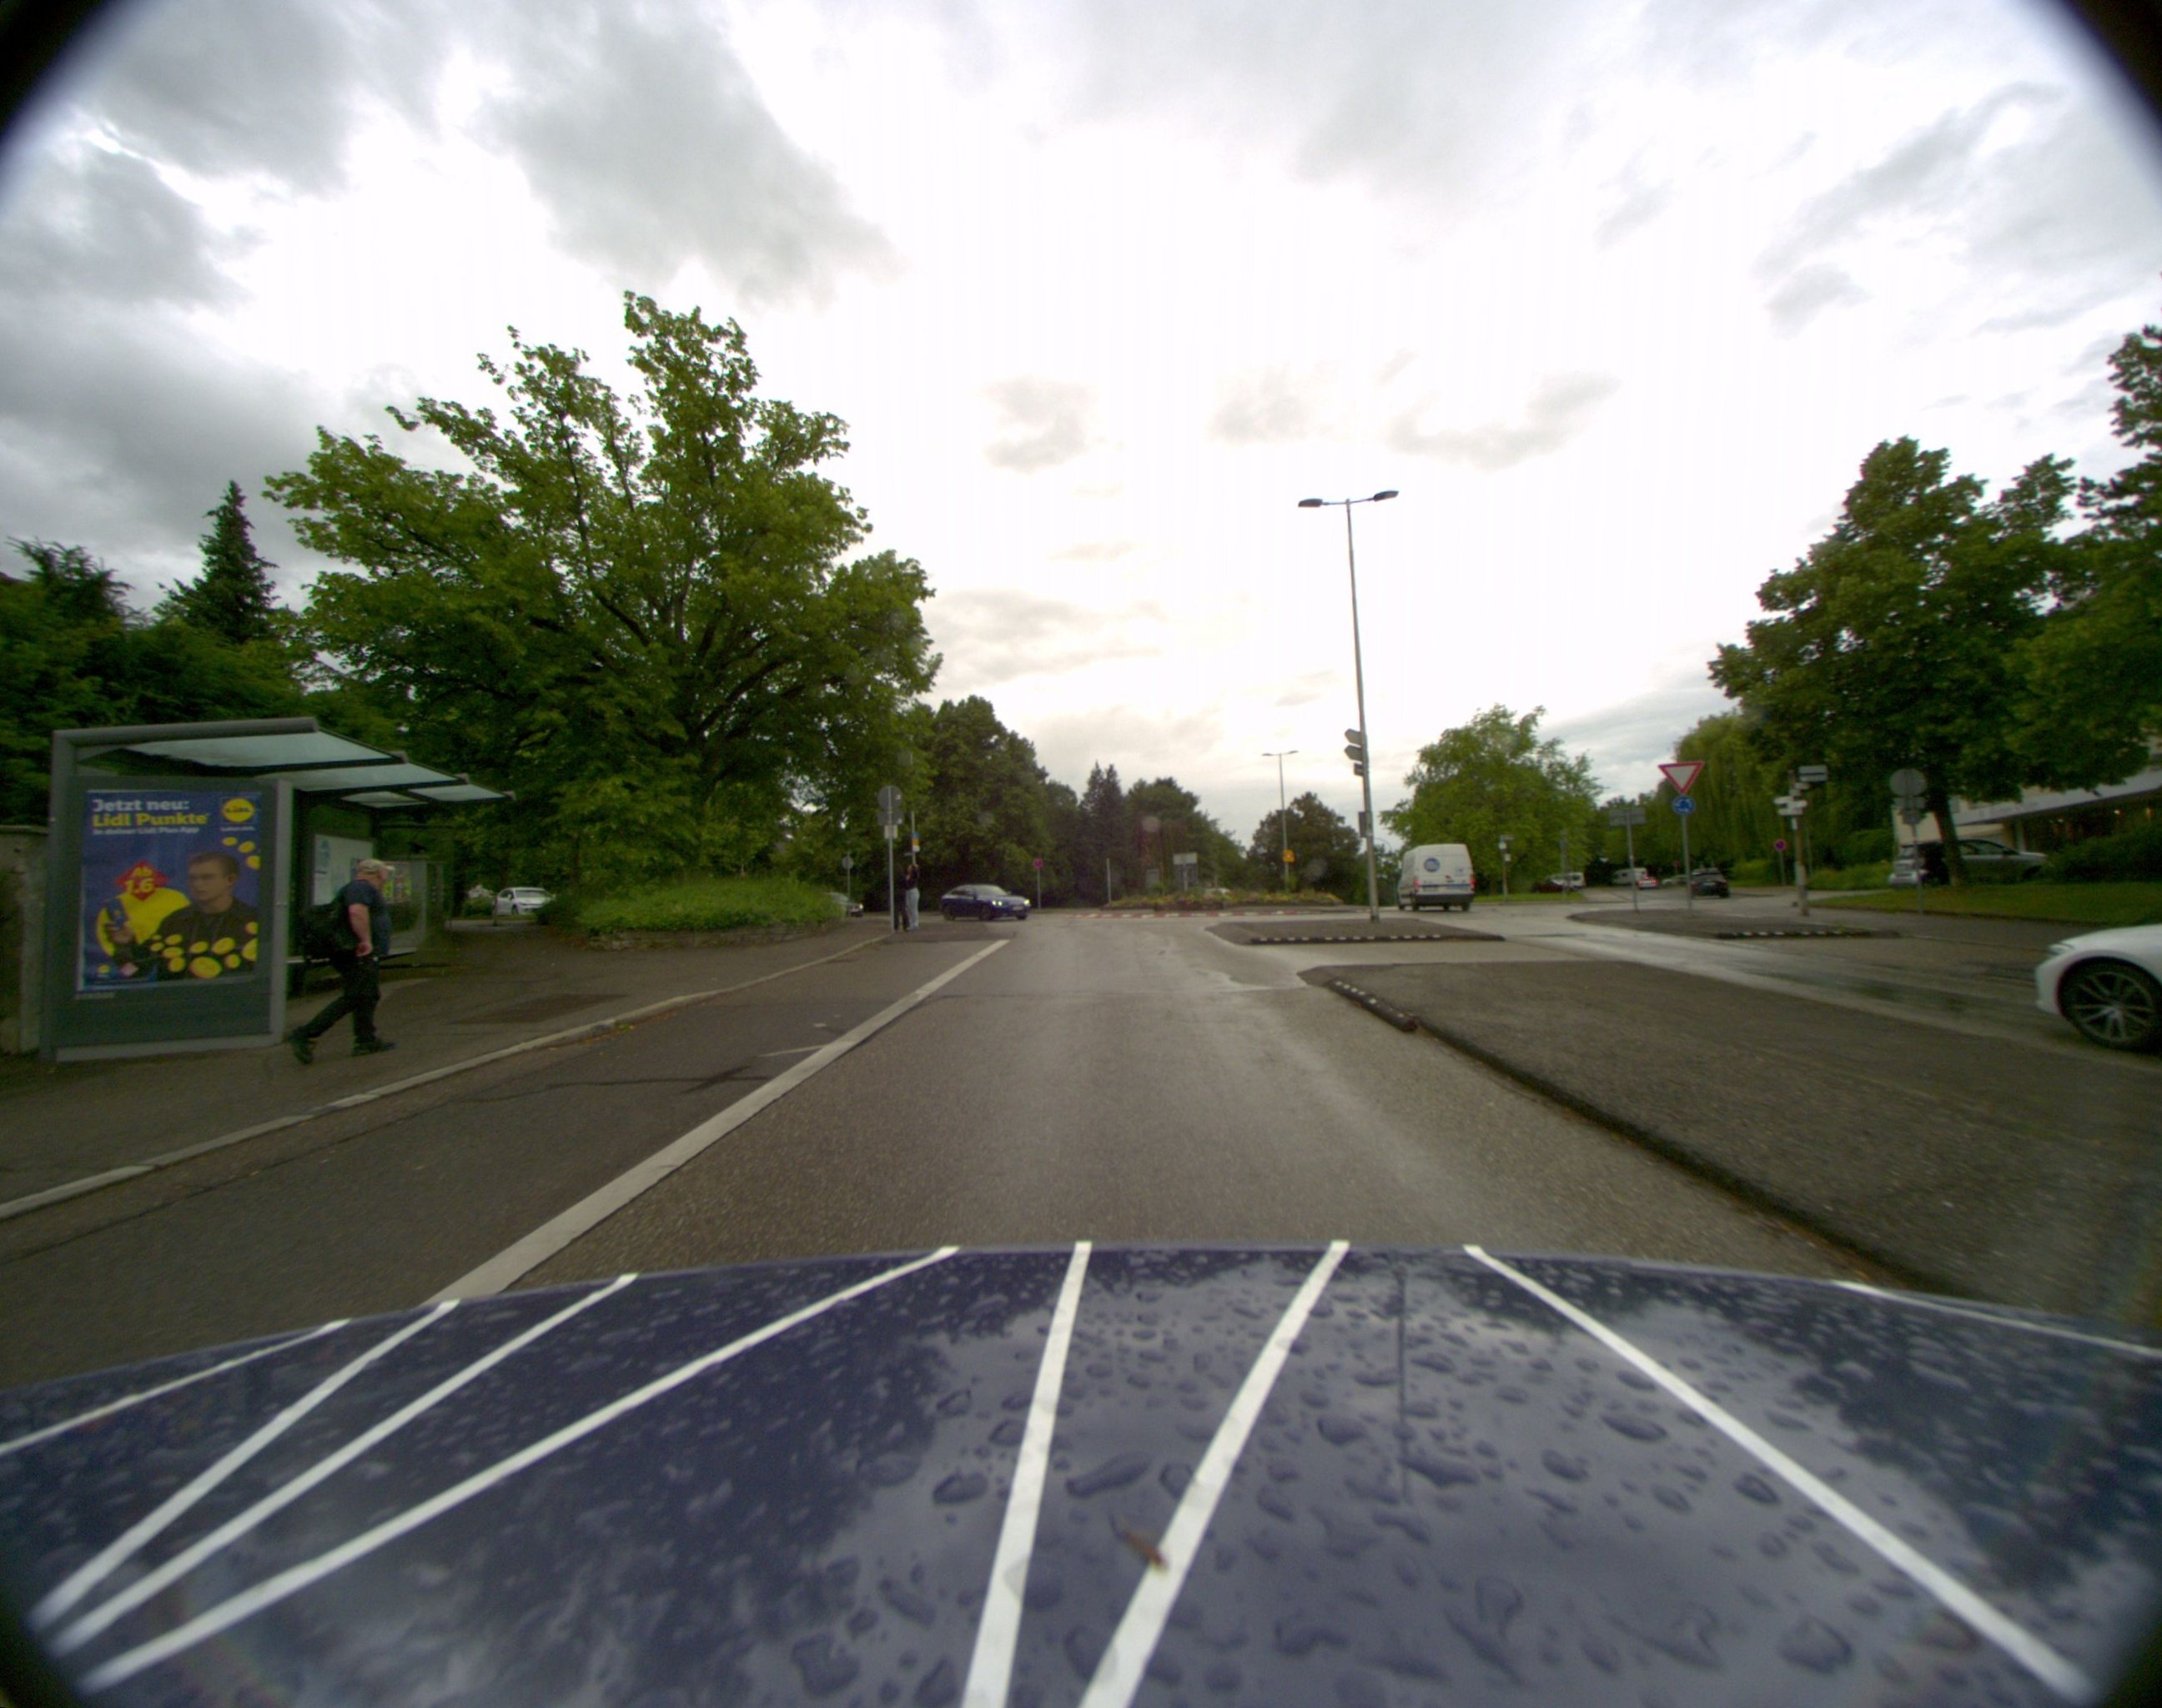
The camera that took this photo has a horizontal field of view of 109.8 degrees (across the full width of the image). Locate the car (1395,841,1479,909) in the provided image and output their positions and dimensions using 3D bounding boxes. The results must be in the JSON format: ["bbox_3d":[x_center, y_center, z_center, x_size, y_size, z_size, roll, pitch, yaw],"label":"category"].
[{"bbox_3d":[13.905,0.903,29.996,2.170,2.400,5.406,-1,-3,17],"label":"car"}]

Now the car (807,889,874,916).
[{"bbox_3d":[-13.842,2.783,43.571,1.867,1.406,4.374,0,-3,-44],"label":"car"}]

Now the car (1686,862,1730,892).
[{"bbox_3d":[36.694,1.302,44.518,1.693,1.605,4.347,-1,0,36],"label":"car"}]

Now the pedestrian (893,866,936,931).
[{"bbox_3d":[-4.395,1.159,20.041,0.723,1.645,0.821,-1,-1,39],"label":"pedestrian"}]

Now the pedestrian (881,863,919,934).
[{"bbox_3d":[-4.552,1.102,19.148,0.725,1.722,0.819,-1,0,1],"label":"pedestrian"}]

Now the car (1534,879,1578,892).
[{"bbox_3d":[51.445,3.442,82.332,3.846,1.302,1.564,-2,-5,38],"label":"car"}]

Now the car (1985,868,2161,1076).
[{"bbox_3d":[8.168,0.803,3.819,1.832,1.393,4.823,-1,0,6],"label":"car"}]

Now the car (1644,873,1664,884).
[{"bbox_3d":[65.937,2.813,87.397,1.556,1.303,3.866,-2,-2,42],"label":"car"}]

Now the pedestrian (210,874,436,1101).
[{"bbox_3d":[-6.228,0.999,6.277,0.926,1.645,1.100,-1,-1,30],"label":"pedestrian"}]

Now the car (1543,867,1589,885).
[{"bbox_3d":[64.330,2.889,100.807,4.903,2.286,1.796,-2,-5,38],"label":"car"}]

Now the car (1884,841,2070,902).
[{"bbox_3d":[24.077,0.470,20.566,2.816,1.532,1.701,-1,-1,29],"label":"car"}]

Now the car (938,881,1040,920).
[{"bbox_3d":[-3.821,1.900,30.794,1.767,1.428,4.660,0,-3,-41],"label":"car"}]

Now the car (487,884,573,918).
[{"bbox_3d":[-25.313,2.167,34.868,4.374,1.406,1.867,-3,-2,36],"label":"car"}]
